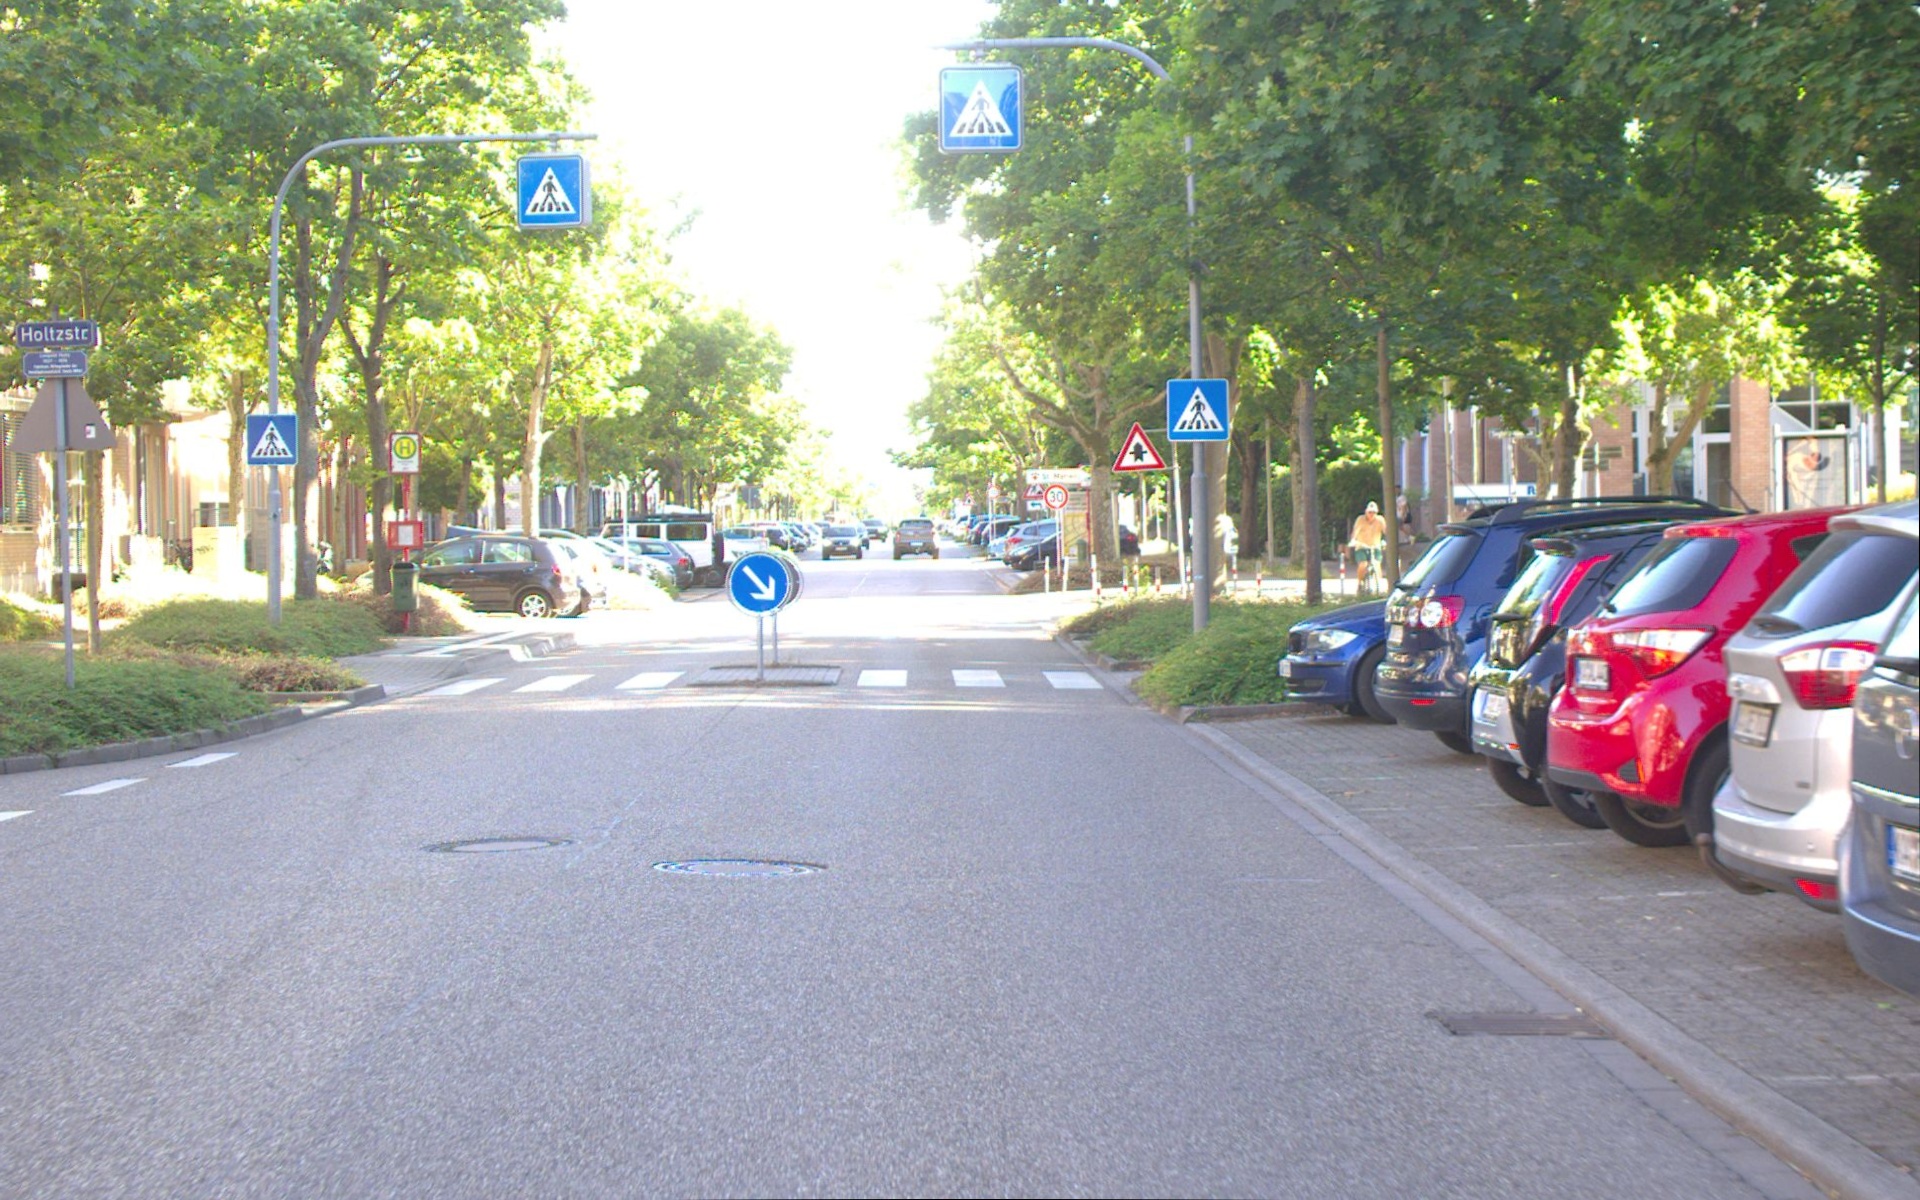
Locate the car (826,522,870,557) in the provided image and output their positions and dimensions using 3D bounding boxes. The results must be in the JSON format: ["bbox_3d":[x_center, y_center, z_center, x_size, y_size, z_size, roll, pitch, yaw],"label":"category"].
[{"bbox_3d":[-5.044,-2.720,155.433,1.813,1.519,4.000,-1,1,0],"label":"car"}]

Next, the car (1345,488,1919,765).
[{"bbox_3d":[4.705,0.119,21.797,4.190,1.530,1.813,-3,1,-3],"label":"car"}]

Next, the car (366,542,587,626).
[{"bbox_3d":[-8.792,-0.308,62.776,3.848,1.468,1.813,1,1,-3],"label":"car"}]

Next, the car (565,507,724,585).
[{"bbox_3d":[-8.521,-1.470,93.041,3.987,2.007,2.000,-1,1,4],"label":"car"}]

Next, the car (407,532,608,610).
[{"bbox_3d":[-8.851,-0.572,67.394,3.848,1.468,1.813,1,1,-6],"label":"car"}]

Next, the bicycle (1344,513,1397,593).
[{"bbox_3d":[6.491,-0.753,54.340,0.684,1.210,1.975,-1,1,10],"label":"bicycle"}]

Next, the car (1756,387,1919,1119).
[{"bbox_3d":[4.359,0.256,8.291,4.350,1.698,1.813,-3,1,-3],"label":"car"}]

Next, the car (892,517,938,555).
[{"bbox_3d":[-1.974,-2.810,150.706,1.993,1.634,4.000,1,1,-1],"label":"car"}]

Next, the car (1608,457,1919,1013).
[{"bbox_3d":[4.477,0.306,11.421,4.190,1.663,1.813,-3,1,-3],"label":"car"}]

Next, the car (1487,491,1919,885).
[{"bbox_3d":[4.585,0.274,14.926,4.190,1.530,1.813,-3,1,-3],"label":"car"}]

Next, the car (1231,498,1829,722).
[{"bbox_3d":[4.322,0.057,26.468,4.190,1.468,1.813,-3,1,-3],"label":"car"}]

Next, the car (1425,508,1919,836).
[{"bbox_3d":[4.605,0.277,17.199,4.190,1.443,1.813,-3,1,-3],"label":"car"}]

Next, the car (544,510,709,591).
[{"bbox_3d":[-8.747,-1.311,90.374,3.987,2.007,2.000,-1,1,4],"label":"car"}]

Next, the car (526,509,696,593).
[{"bbox_3d":[-8.865,-1.261,87.528,3.987,2.007,2.000,-1,1,4],"label":"car"}]

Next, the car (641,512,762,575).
[{"bbox_3d":[-8.816,-1.933,117.425,3.986,2.007,2.000,-1,1,-2],"label":"car"}]

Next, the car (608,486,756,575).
[{"bbox_3d":[-7.931,-1.983,98.356,3.987,2.532,1.862,0,1,4],"label":"car"}]

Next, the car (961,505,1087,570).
[{"bbox_3d":[2.085,-2.055,112.719,3.986,2.007,2.000,-1,1,-2],"label":"car"}]

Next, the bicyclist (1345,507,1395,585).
[{"bbox_3d":[6.485,-0.862,54.334,0.698,1.210,0.945,-1,1,10],"label":"bicyclist"}]
